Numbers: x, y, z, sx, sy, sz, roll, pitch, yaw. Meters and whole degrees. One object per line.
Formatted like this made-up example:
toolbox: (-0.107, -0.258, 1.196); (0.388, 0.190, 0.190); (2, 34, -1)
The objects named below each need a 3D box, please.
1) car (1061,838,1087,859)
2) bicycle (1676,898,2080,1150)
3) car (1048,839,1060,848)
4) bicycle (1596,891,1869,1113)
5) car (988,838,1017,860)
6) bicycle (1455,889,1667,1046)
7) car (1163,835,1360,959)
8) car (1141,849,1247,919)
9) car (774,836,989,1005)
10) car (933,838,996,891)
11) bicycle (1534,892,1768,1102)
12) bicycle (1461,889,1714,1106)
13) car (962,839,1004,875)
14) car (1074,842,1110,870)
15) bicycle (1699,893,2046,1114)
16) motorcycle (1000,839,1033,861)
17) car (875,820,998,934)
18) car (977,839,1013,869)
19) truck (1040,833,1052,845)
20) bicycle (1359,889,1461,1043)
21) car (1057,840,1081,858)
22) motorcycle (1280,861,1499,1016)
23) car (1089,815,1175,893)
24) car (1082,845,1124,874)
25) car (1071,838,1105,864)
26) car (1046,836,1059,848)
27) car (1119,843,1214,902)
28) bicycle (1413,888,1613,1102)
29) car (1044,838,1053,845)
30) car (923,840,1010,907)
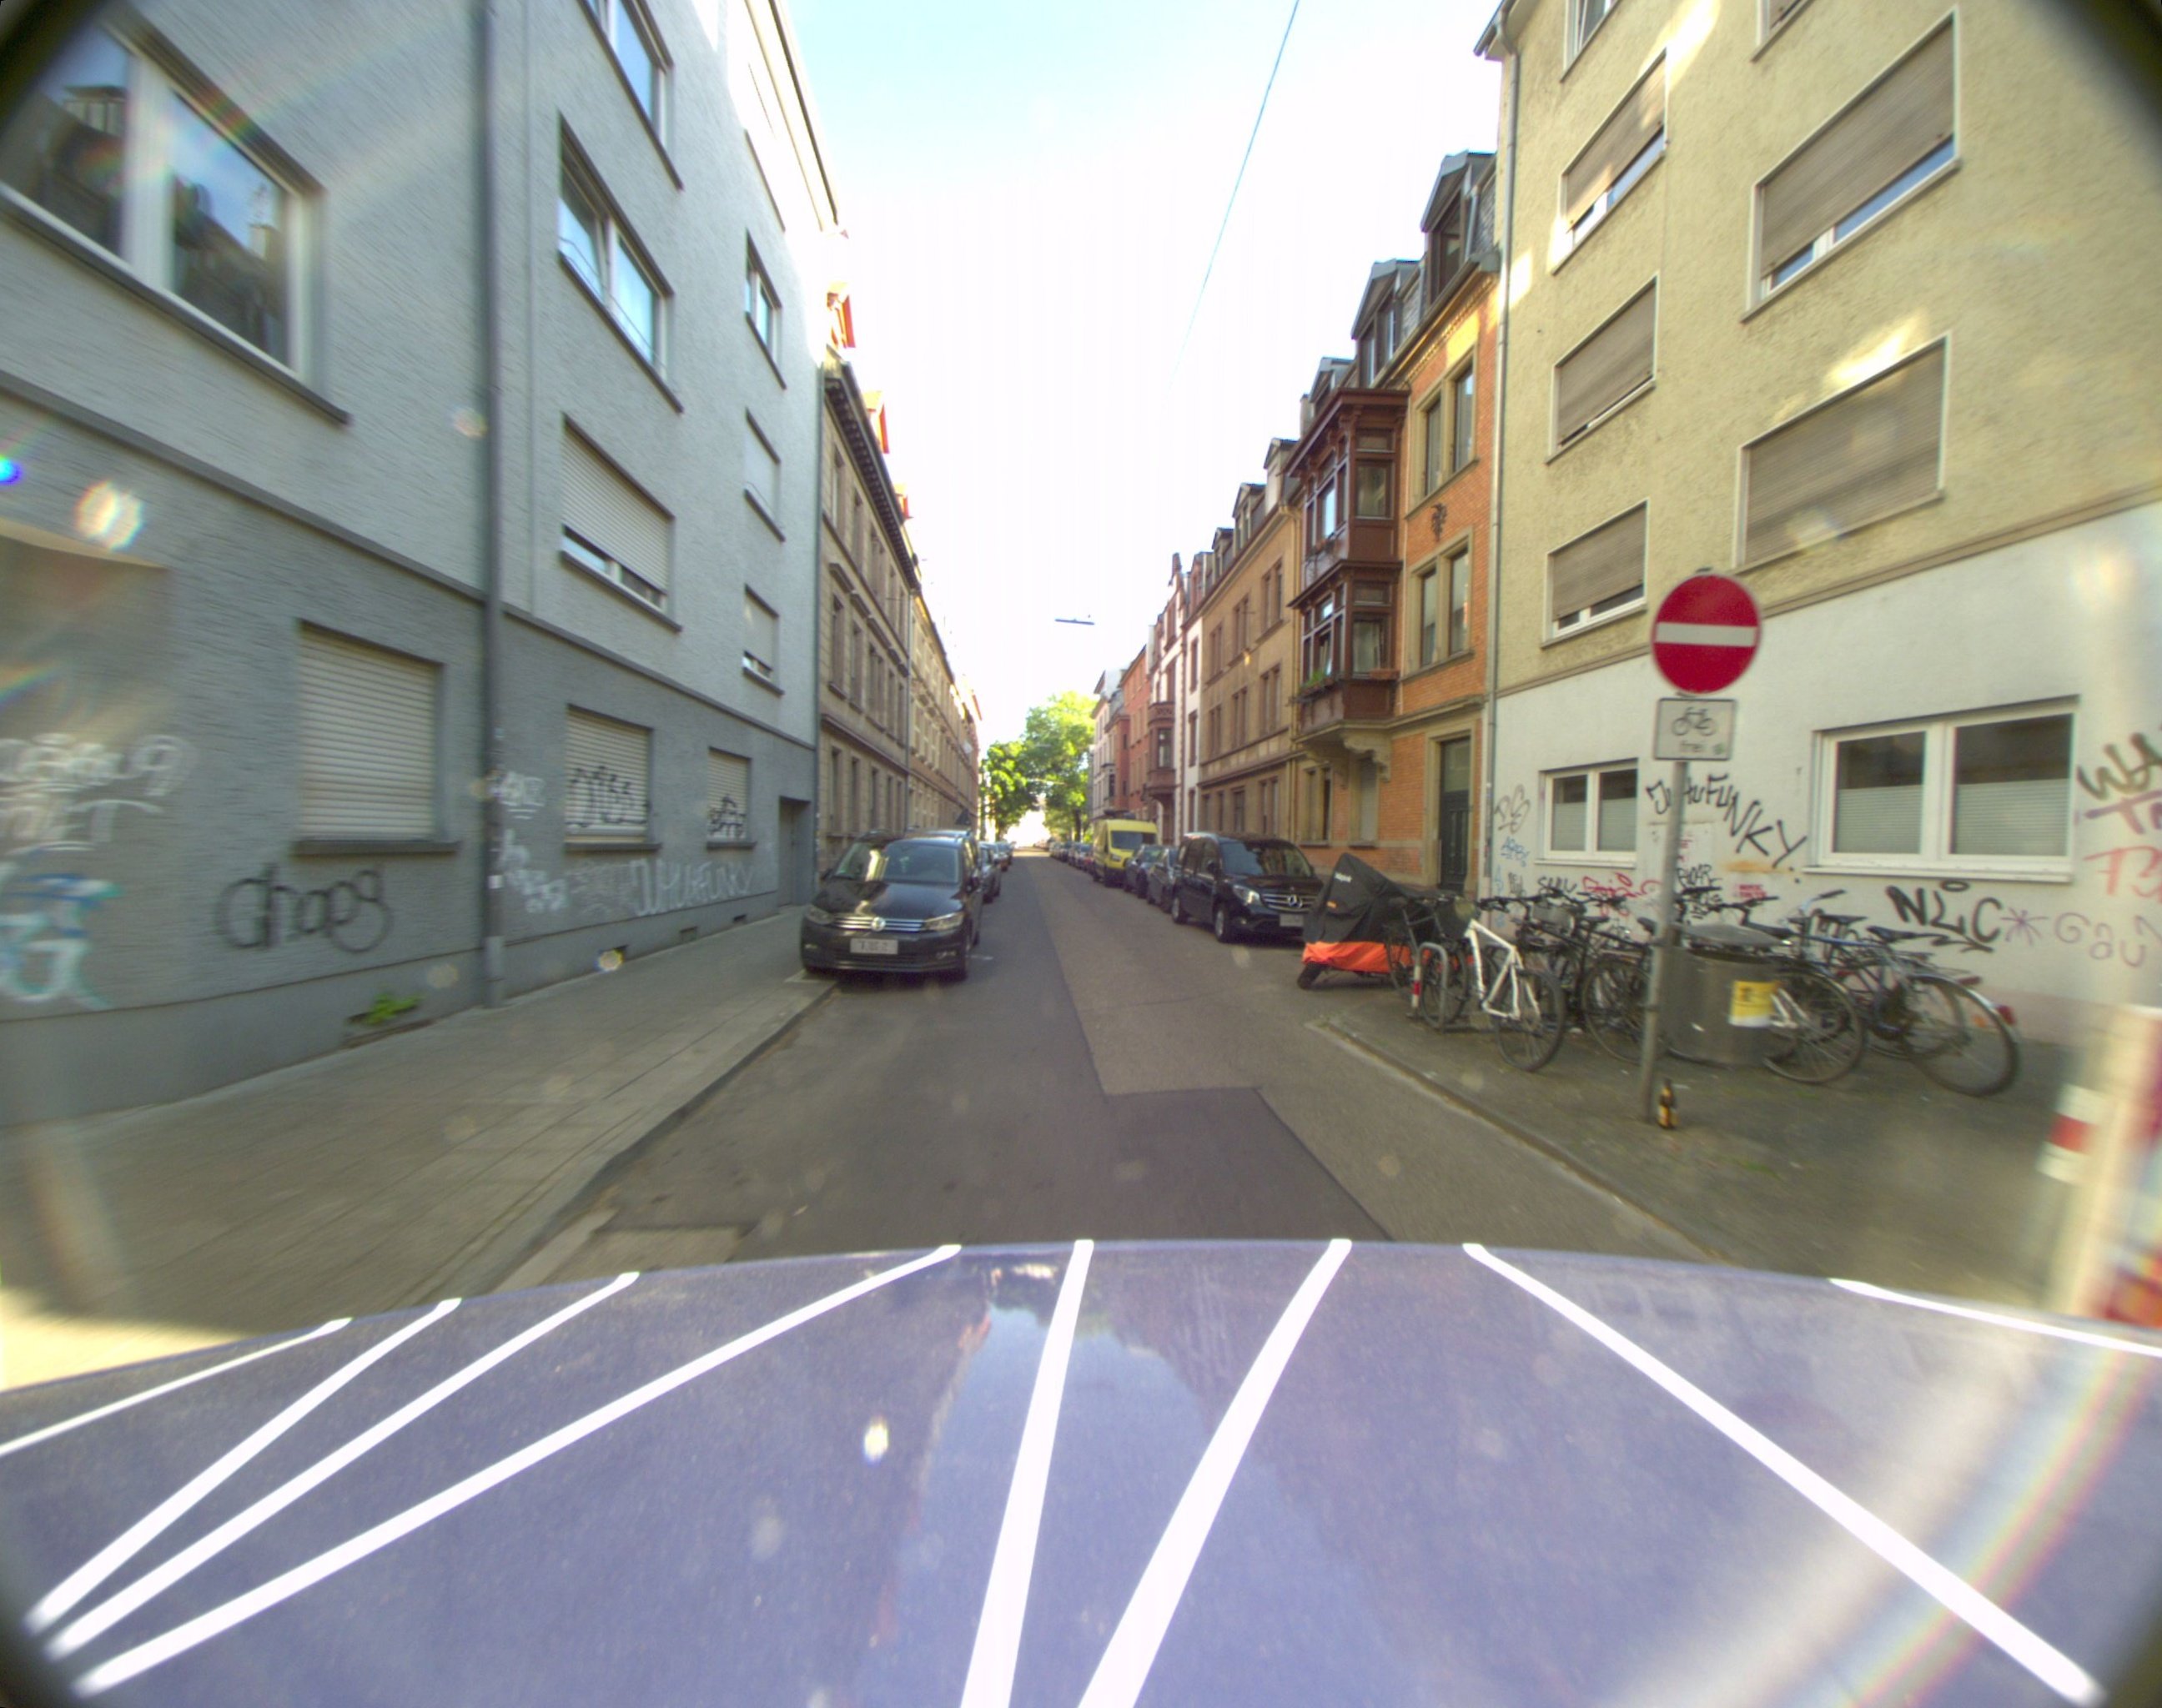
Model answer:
car: (-0.609, -0.444, 60.117); (1.766, 1.608, 4.186); (1, 1, -4)
bicycle: (5.034, 0.963, 5.051); (0.400, 1.220, 2.029); (1, 0, -5)
car: (-4.587, -1.833, 127.947); (1.732, 1.456, 3.842); (2, 1, -5)
bicycle: (4.378, 0.907, 5.283); (0.295, 1.220, 1.698); (1, 0, -5)
car: (-5.363, -0.368, 52.148); (1.782, 1.389, 4.314); (1, 1, -4)
bicycle: (4.393, 0.974, 7.149); (0.548, 1.149, 1.869); (1, 2, -9)
car: (2.817, 0.566, 12.970); (1.824, 1.756, 4.331); (1, 1, -7)
car: (2.561, 0.633, 18.034); (1.682, 1.441, 3.642); (0, 1, -5)
car: (-2.233, 0.621, 9.705); (1.906, 1.631, 4.387); (1, 2, -5)
car: (-3.872, 0.290, 25.856); (1.759, 1.509, 4.440); (5, 1, -6)
bicycle: (3.981, 0.920, 5.461); (0.364, 1.220, 1.552); (1, 0, -6)
bicycle: (3.516, 0.908, 5.504); (0.400, 1.220, 1.873); (1, 0, -6)
car: (-4.625, 0.107, 36.460); (1.726, 1.472, 4.079); (5, 1, -5)
car: (0.631, 0.082, 45.572); (1.699, 1.466, 3.916); (4, 1, -4)
bicycle: (5.464, 0.938, 5.436); (0.400, 1.220, 1.814); (1, 0, -7)
motorcycle: (-4.725, -0.288, 55.599); (2.230, 1.528, 0.888); (-2, 2, -30)
car: (-2.637, 0.348, 14.850); (1.759, 1.776, 4.720); (4, 1, -5)
car: (-4.667, -0.030, 41.440); (1.759, 1.438, 4.065); (4, 1, -6)
truck: (-7.925, -3.485, 171.864); (2.396, 2.642, 7.087); (1, 1, -6)
bicycle: (2.900, 0.940, 6.803); (0.377, 1.149, 1.291); (1, 2, 3)
car: (-1.036, -0.461, 65.283); (1.648, 1.447, 3.836); (3, 1, -6)
motorcycle: (3.465, 0.836, 8.445); (2.524, 1.474, 0.901); (0, 2, -31)
car: (1.754, -0.055, 28.395); (2.182, 2.493, 5.874); (3, 1, -5)
car: (1.095, 0.260, 39.410); (1.623, 1.319, 3.609); (4, 1, -5)
car: (0.426, -0.229, 50.486); (1.786, 1.597, 4.066); (1, 1, -6)
car: (-4.957, -2.167, 133.409); (1.999, 1.946, 5.039); (3, 1, -4)
car: (2.434, 0.473, 22.634); (1.999, 1.543, 3.997); (1, 1, -5)
bicycle: (2.935, 0.887, 5.328); (0.400, 1.220, 1.504); (1, 0, -6)
car: (-6.660, -2.504, 154.154); (1.756, 1.465, 3.997); (0, 1, -4)
car: (-2.942, 0.445, 20.296); (1.759, 1.444, 4.285); (5, 1, -3)
